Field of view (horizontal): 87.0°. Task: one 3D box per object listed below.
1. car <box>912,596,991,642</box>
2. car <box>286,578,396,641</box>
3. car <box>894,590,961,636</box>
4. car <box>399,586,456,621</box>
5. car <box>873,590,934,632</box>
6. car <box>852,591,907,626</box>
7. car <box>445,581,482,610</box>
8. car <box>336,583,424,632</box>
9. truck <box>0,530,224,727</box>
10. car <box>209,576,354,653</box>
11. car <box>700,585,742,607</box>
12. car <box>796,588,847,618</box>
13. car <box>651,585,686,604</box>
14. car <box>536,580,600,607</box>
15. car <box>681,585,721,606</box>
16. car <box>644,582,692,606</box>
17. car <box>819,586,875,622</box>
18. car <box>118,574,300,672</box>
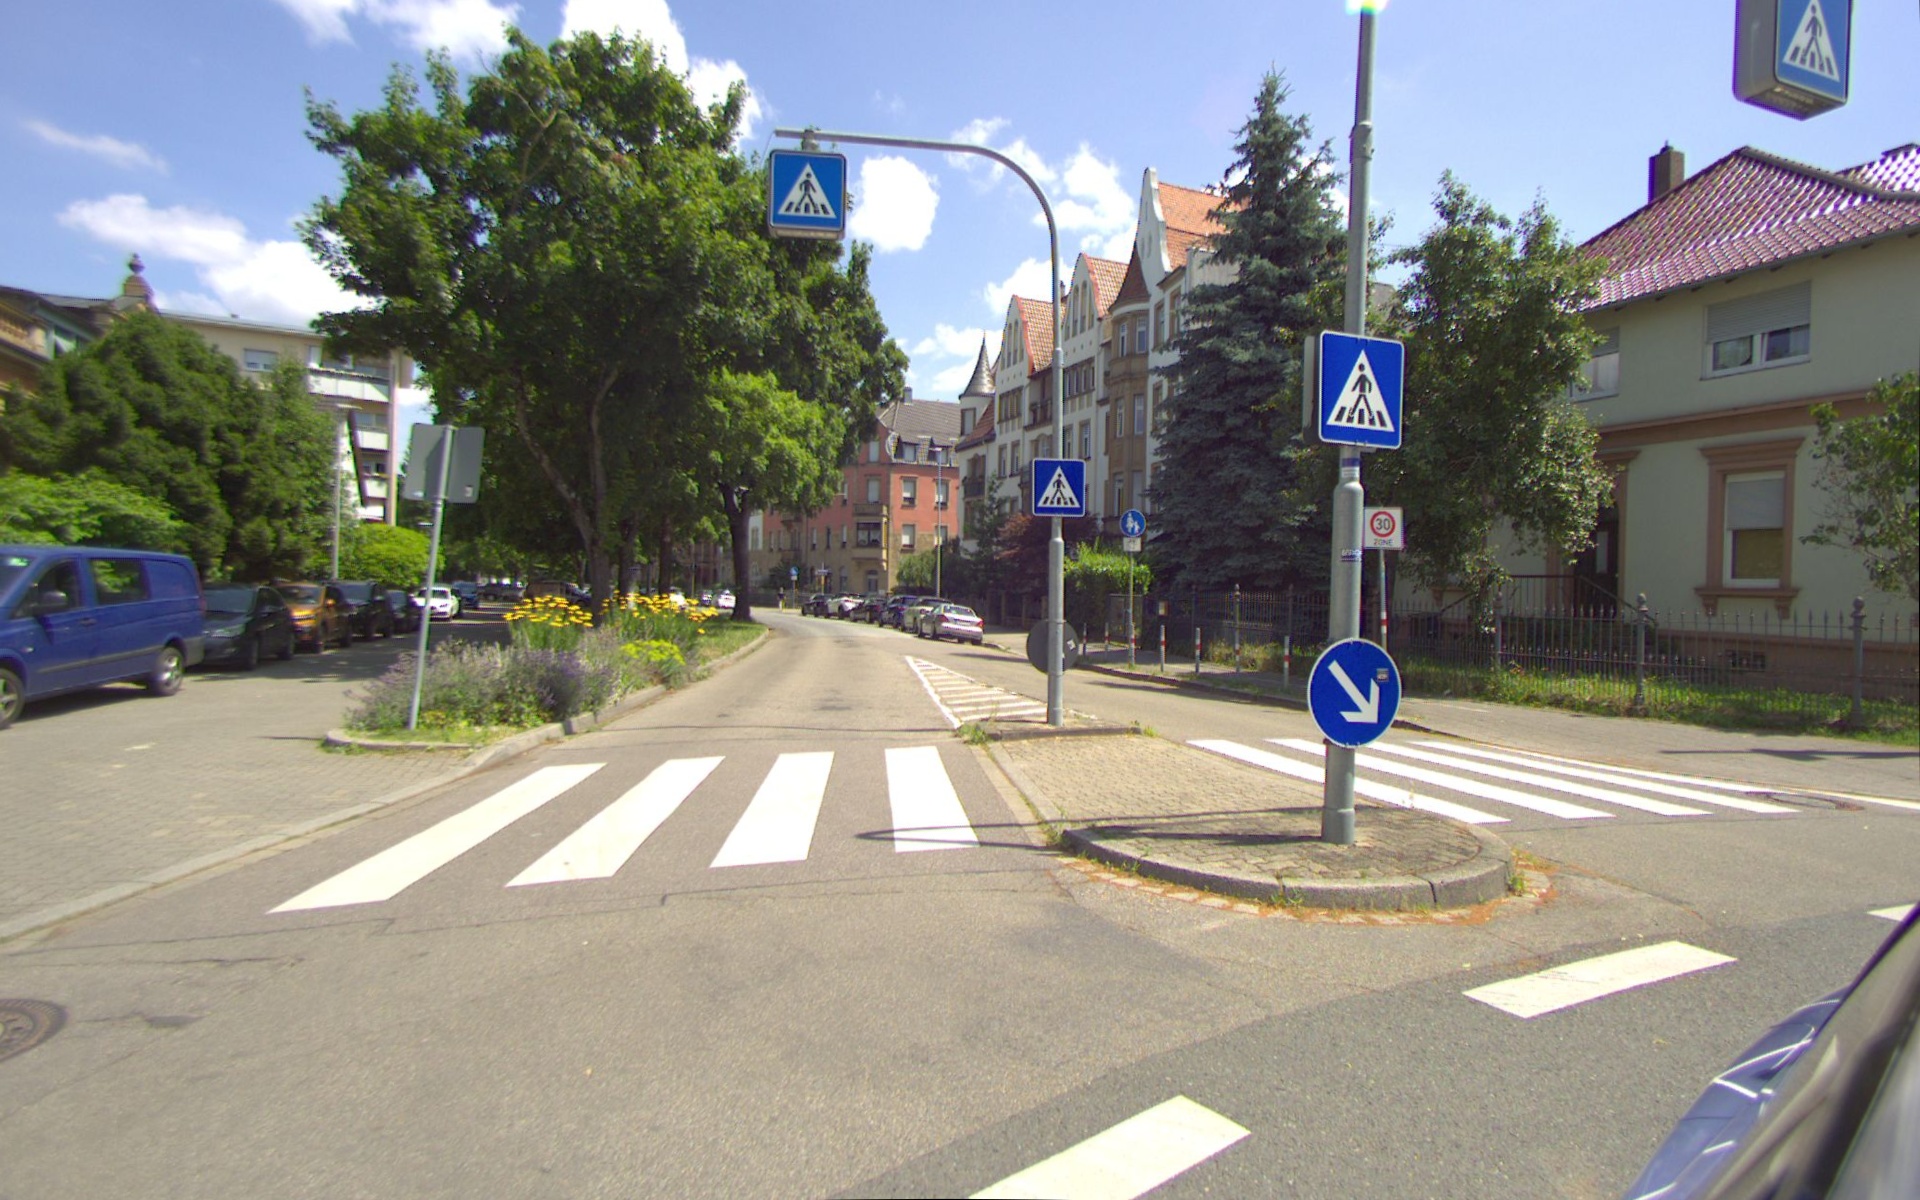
[{"bbox_3d":[-0.362,0.618,35.001,1.780,1.343,4.008,5,-1,-13],"label":"car"},{"bbox_3d":[-16.909,0.217,27.832,1.801,1.577,4.009,1,1,-20],"label":"car"},{"bbox_3d":[-1.335,0.475,39.989,1.738,1.534,4.008,7,-1,-13],"label":"car"},{"bbox_3d":[-23.379,0.114,44.544,1.801,1.456,4.008,1,0,-22],"label":"car"},{"bbox_3d":[-2.572,0.452,44.953,1.737,1.534,4.009,7,-1,-16],"label":"car"},{"bbox_3d":[-4.045,0.404,50.257,1.737,1.405,4.009,7,-1,-18],"label":"car"},{"bbox_3d":[-31.761,-0.283,64.848,1.801,1.756,4.008,1,0,-22],"label":"car"},{"bbox_3d":[-18.736,0.211,32.855,1.801,1.475,4.009,1,1,-20],"label":"car"},{"bbox_3d":[-10.871,0.232,11.696,1.876,1.951,5.292,2,0,-14],"label":"truck"},{"bbox_3d":[-15.158,0.267,22.835,1.801,1.577,4.009,1,1,-20],"label":"car"},{"bbox_3d":[-18.579,-0.321,78.528,1.961,1.638,4.188,0,1,-32],"label":"car"},{"bbox_3d":[-8.218,0.155,59.742,1.738,1.408,3.883,7,-1,-27],"label":"car"},{"bbox_3d":[-26.015,-0.522,90.214,1.961,1.638,4.188,0,1,-32],"label":"car"},{"bbox_3d":[-28.452,-0.496,73.576,3.922,1.883,1.926,1,1,-2],"label":"car"},{"bbox_3d":[-21.152,-0.393,82.524,1.961,1.638,4.188,0,1,-32],"label":"car"},{"bbox_3d":[-20.647,-0.430,71.427,1.962,1.638,4.185,0,1,-36],"label":"car"},{"bbox_3d":[-6.256,0.197,55.604,1.738,1.634,3.883,7,-1,-25],"label":"car"},{"bbox_3d":[-13.326,0.364,18.224,1.678,1.545,3.862,2,0,-22],"label":"car"}]
